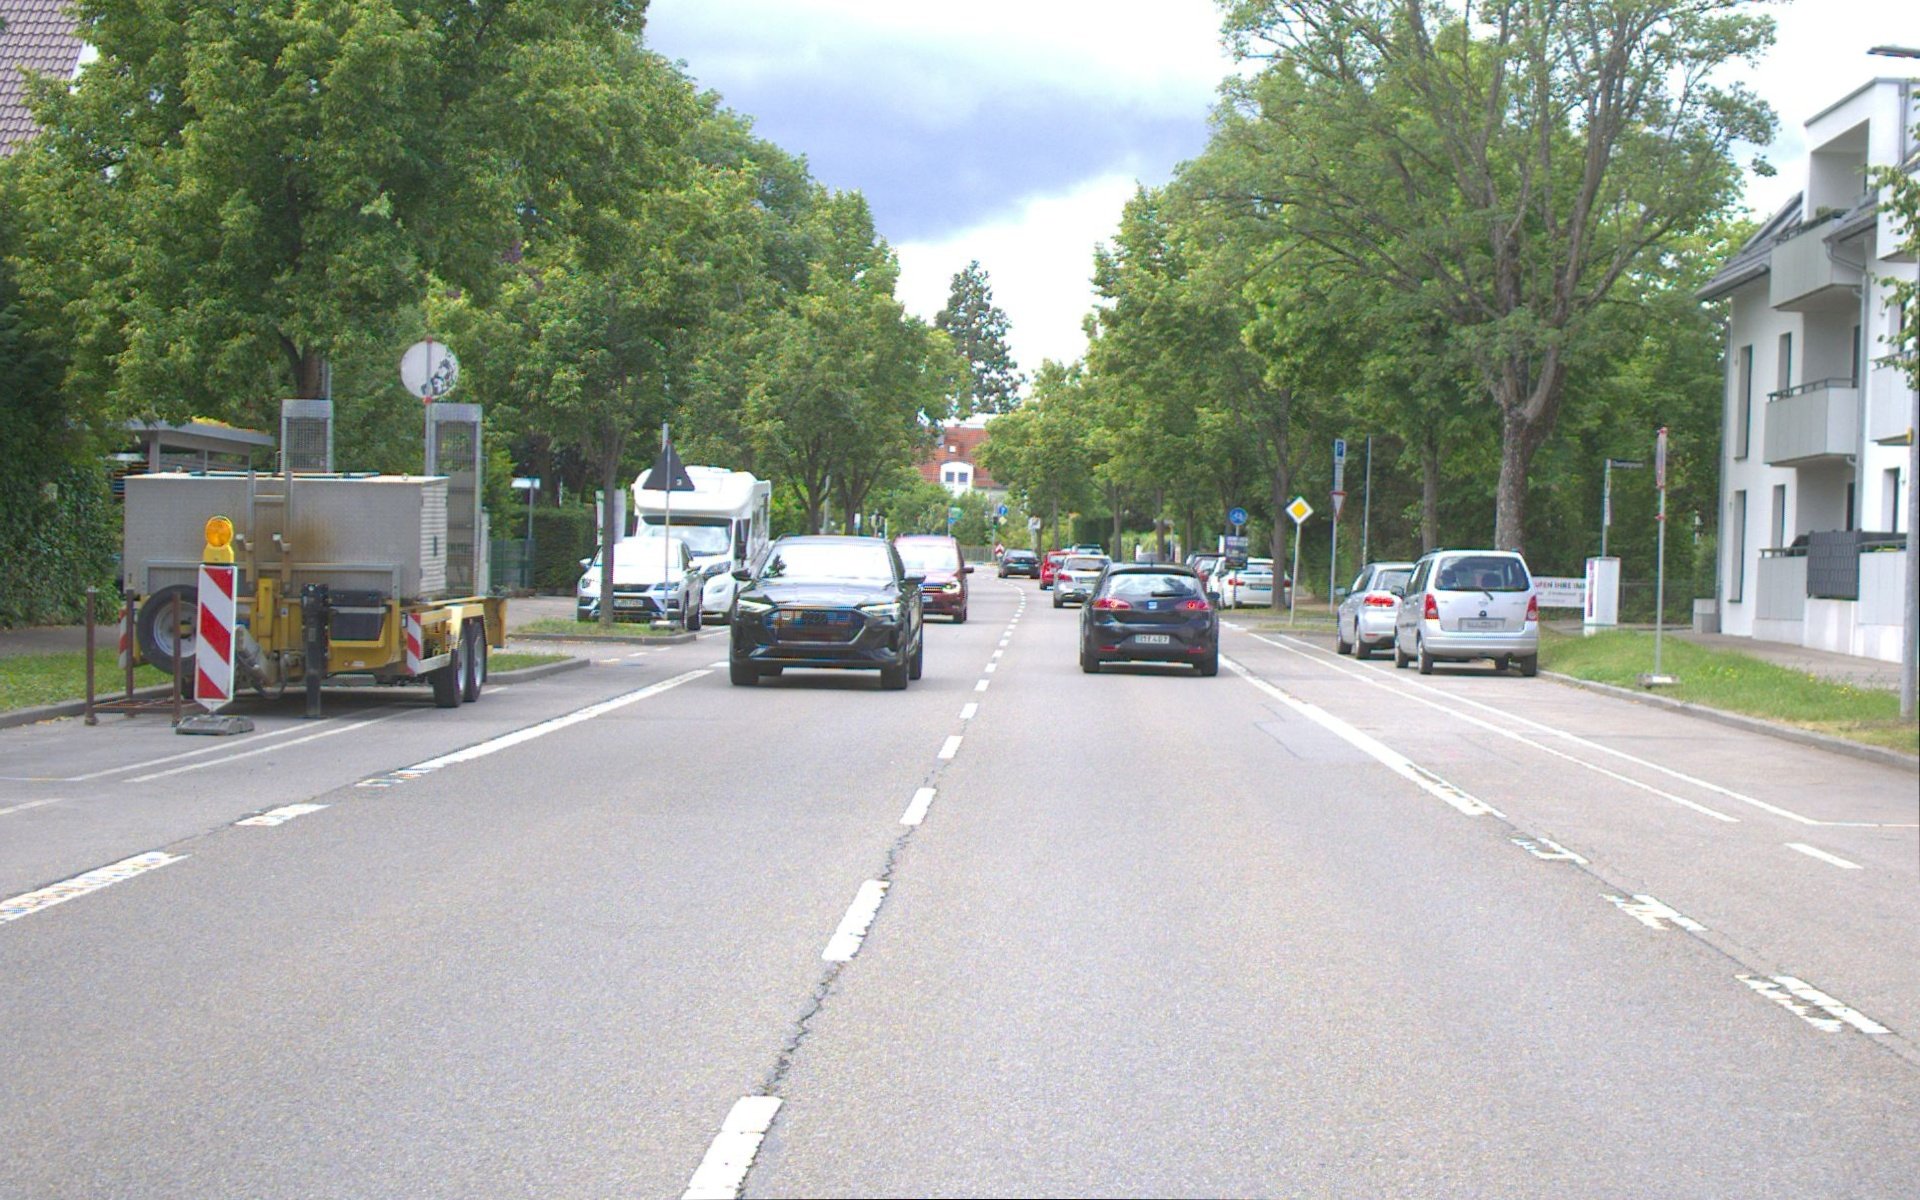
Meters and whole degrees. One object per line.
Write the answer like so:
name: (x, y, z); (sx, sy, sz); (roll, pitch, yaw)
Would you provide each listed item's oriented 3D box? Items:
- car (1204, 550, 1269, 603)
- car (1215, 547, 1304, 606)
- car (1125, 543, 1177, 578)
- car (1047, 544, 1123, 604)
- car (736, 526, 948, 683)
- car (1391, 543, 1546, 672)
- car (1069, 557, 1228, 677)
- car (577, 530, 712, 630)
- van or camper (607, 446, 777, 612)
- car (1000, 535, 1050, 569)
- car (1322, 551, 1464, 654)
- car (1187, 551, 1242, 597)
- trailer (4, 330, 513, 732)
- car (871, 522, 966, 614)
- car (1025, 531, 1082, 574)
car: (7.954, -0.697, 99.132); (1.616, 1.455, 3.657); (1, 1, 1)
car: (7.875, -0.646, 90.722); (2.021, 1.438, 5.025); (2, 1, 2)
car: (8.100, -1.693, 146.046); (1.683, 1.427, 4.045); (1, 1, -4)
car: (3.401, -0.713, 93.586); (1.993, 1.552, 4.000); (2, 0, 2)
car: (-1.262, 0.015, 38.744); (1.994, 1.662, 4.589); (0, 1, 3)
car: (6.937, 0.067, 47.166); (1.632, 1.660, 3.648); (2, 1, 2)
car: (2.414, 0.194, 44.720); (1.783, 1.444, 3.558); (2, 1, -1)
car: (-5.316, -0.361, 58.408); (1.722, 1.595, 4.272); (2, 1, 2)
van or camper: (-5.142, -1.376, 67.243); (2.435, 2.999, 7.693); (2, 1, 2)
car: (3.079, -2.275, 163.353); (1.993, 1.503, 4.001); (2, 0, -3)
car: (6.629, 0.001, 52.957); (1.687, 1.488, 4.227); (1, 1, 1)
car: (8.205, -0.860, 111.025); (1.638, 1.415, 4.000); (1, 1, 3)
trailer: (-5.781, -0.536, 29.689); (2.674, 2.931, 7.475); (2, 0, 1)
car: (-0.837, -0.683, 71.793); (1.760, 1.797, 4.769); (2, 1, 1)
car: (3.508, -1.794, 129.892); (1.993, 1.525, 4.000); (1, 1, 0)
